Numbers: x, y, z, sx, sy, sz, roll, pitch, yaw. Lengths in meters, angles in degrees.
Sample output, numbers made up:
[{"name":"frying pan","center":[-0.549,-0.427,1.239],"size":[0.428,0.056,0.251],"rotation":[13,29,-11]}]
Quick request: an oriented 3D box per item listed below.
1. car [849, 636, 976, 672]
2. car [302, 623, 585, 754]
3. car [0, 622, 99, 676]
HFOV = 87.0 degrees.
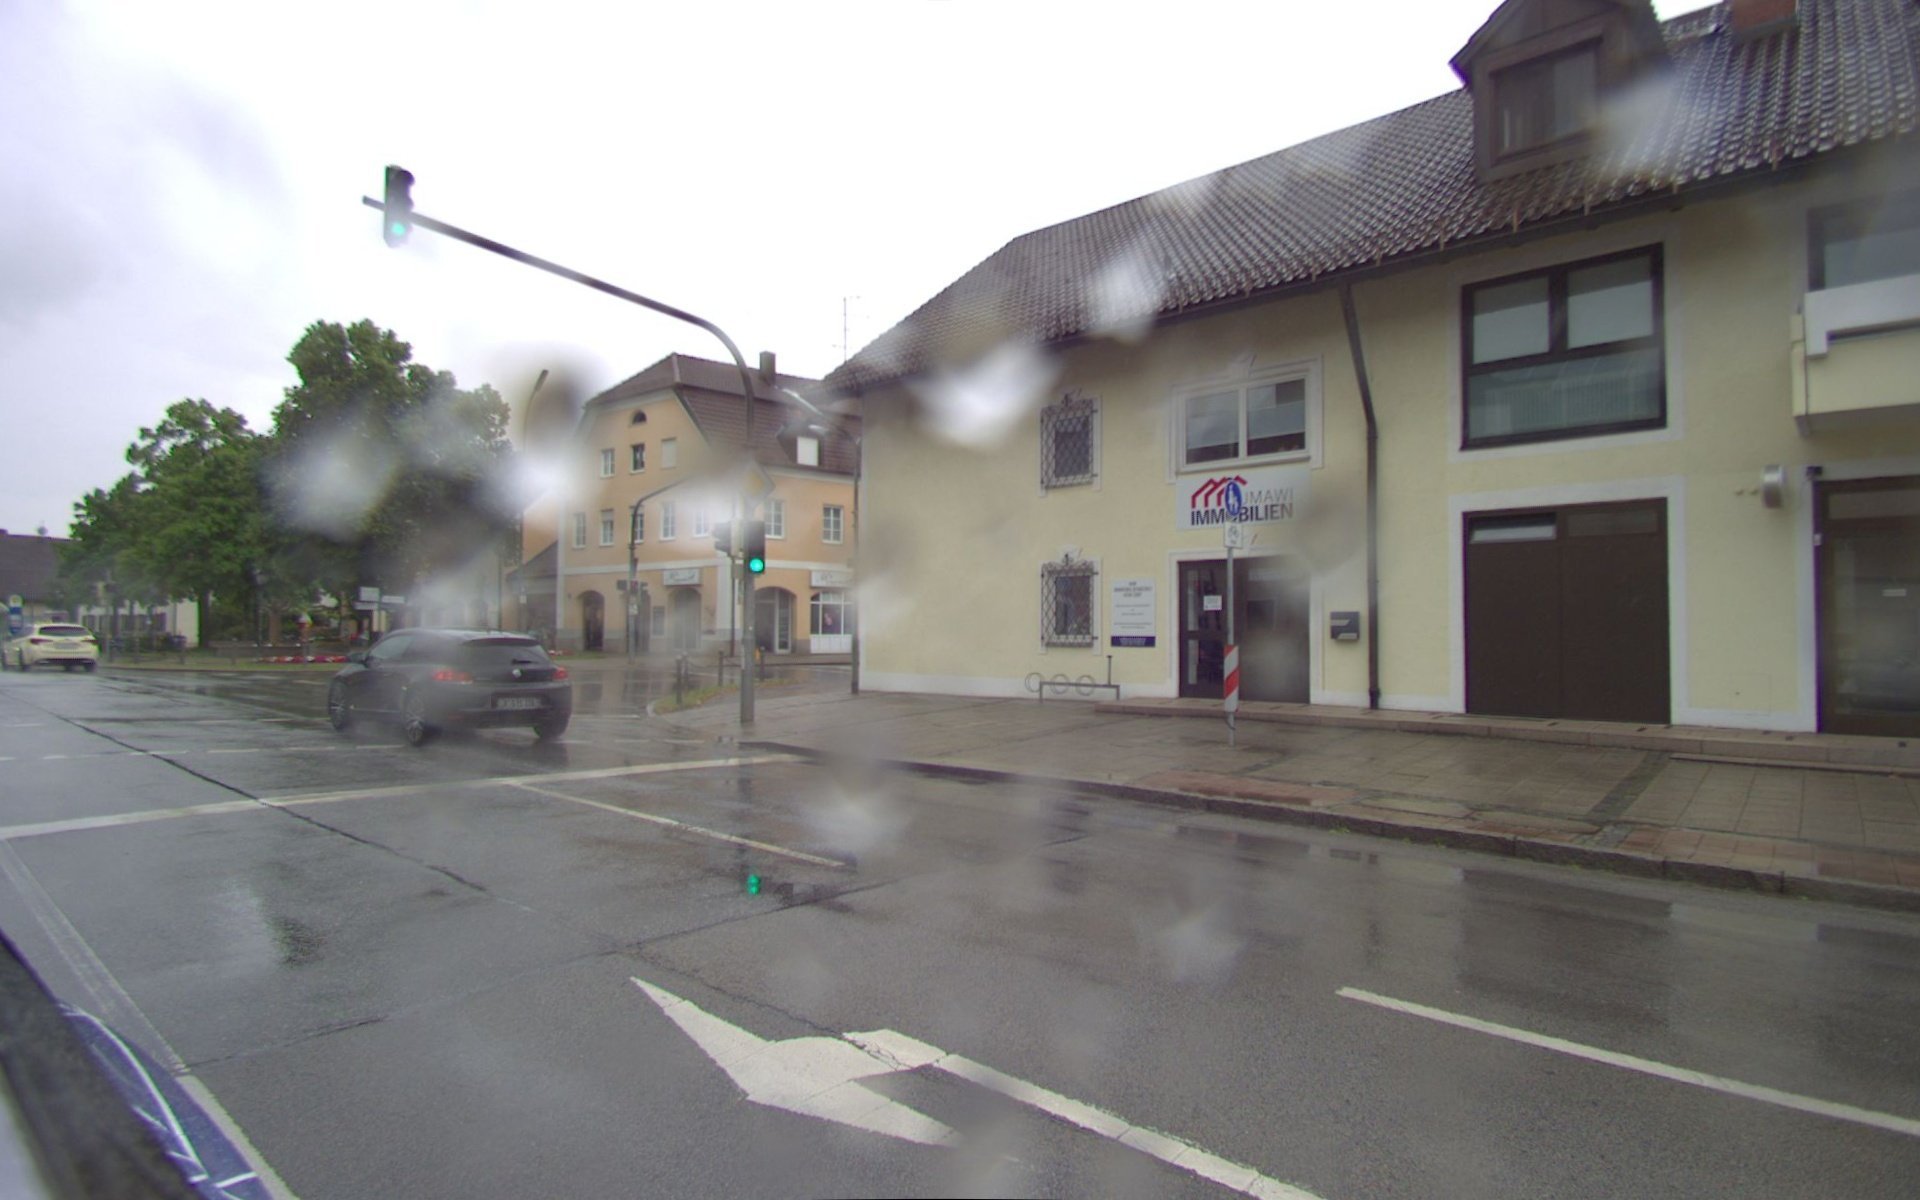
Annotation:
[{"name":"car","center":[-1.653,1.913,36.206],"size":[4.288,1.194,1.694],"rotation":[2,-2,-35]},{"name":"car","center":[-6.724,1.031,13.028],"size":[3.883,1.418,1.975],"rotation":[-1,-3,42]},{"name":"car","center":[-27.963,1.463,30.900],"size":[4.226,1.523,1.735],"rotation":[-1,-3,39]}]
